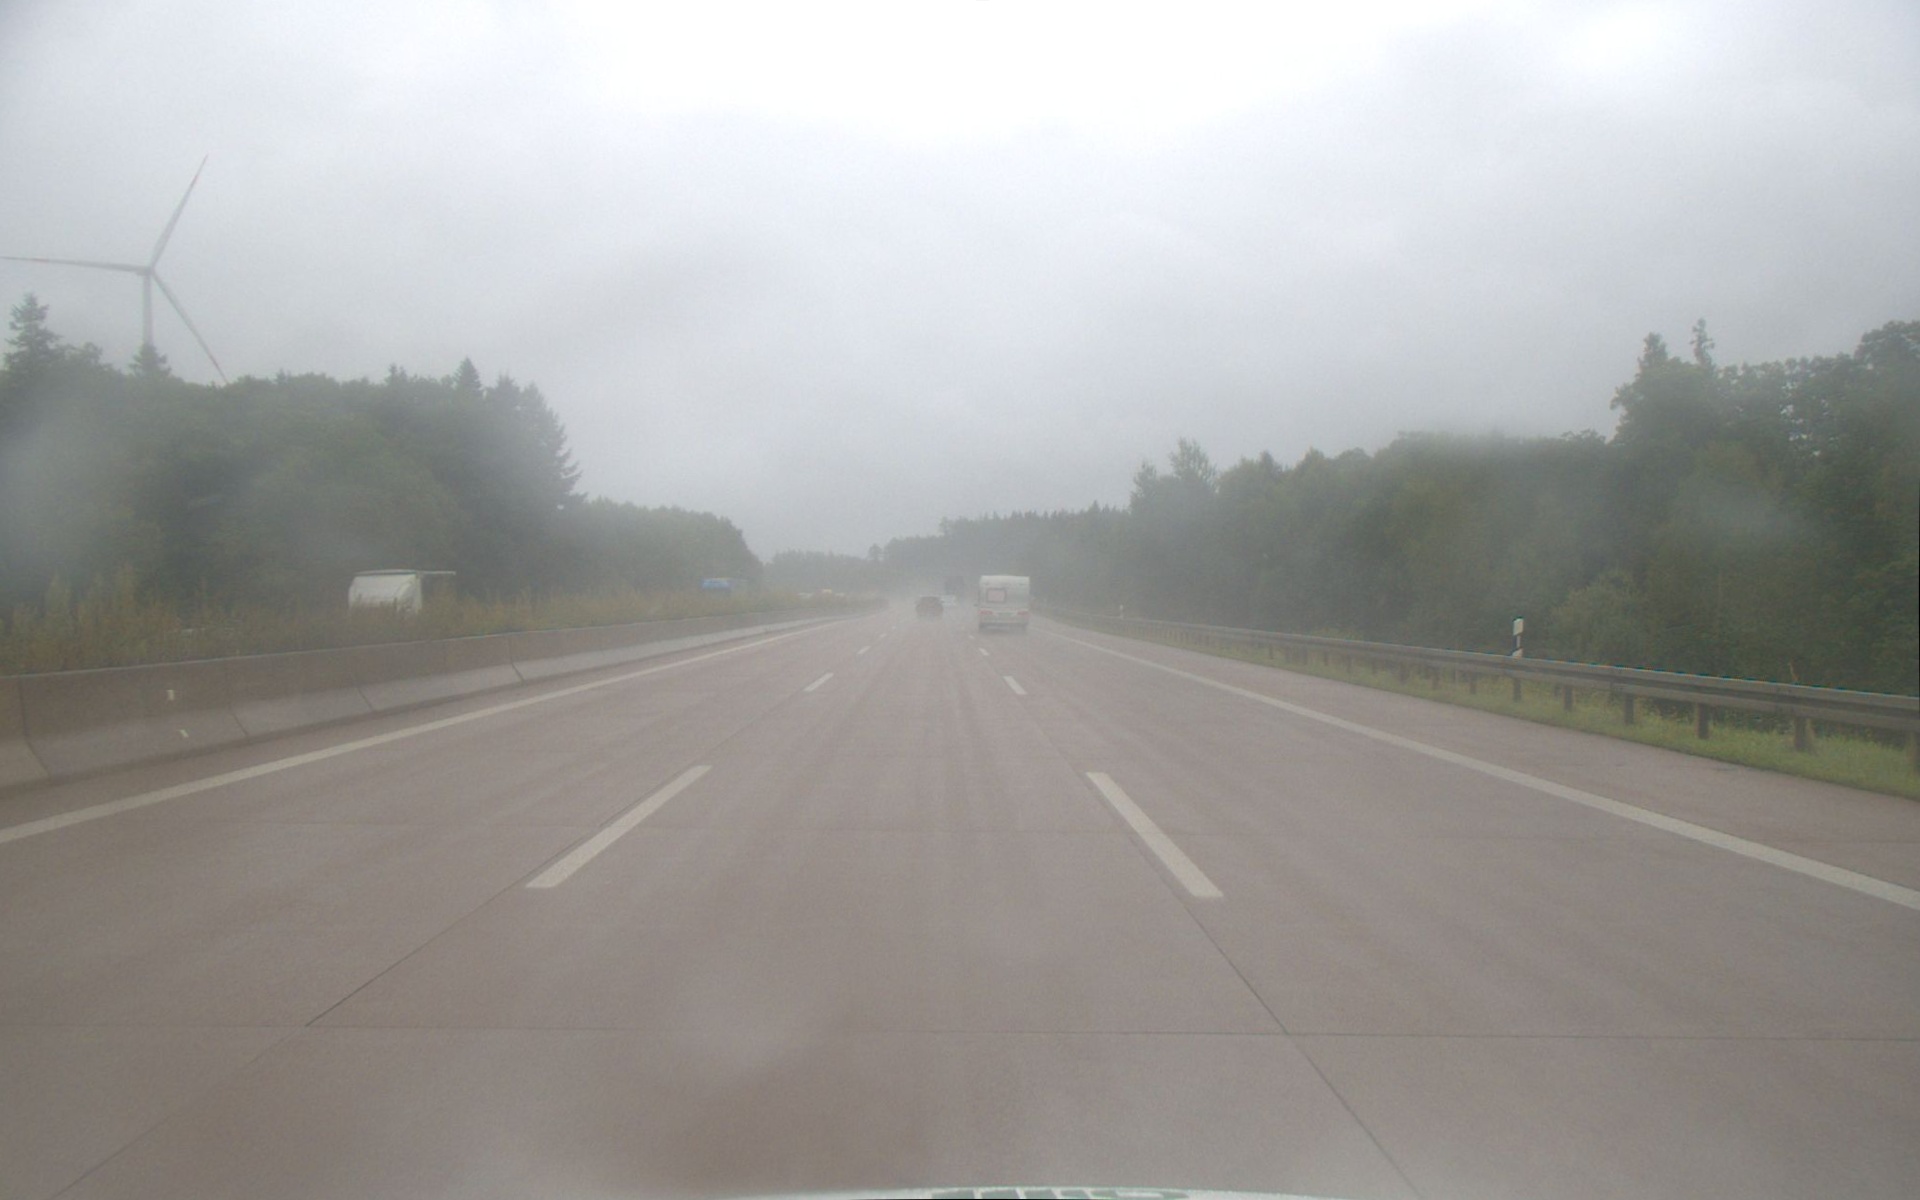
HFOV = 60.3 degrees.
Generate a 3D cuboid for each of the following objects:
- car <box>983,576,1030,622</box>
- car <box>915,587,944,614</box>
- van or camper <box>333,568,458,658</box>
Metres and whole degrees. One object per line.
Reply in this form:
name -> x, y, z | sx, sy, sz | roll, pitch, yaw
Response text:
car -> 2.100, -0.046, 75.140 | 2.016, 2.034, 4.098 | 1, 0, 0
car -> -2.076, 0.037, 114.366 | 1.897, 1.760, 4.130 | 1, 0, 0
van or camper -> -20.277, 0.445, 59.737 | 2.430, 3.053, 5.435 | 1, 0, 2
